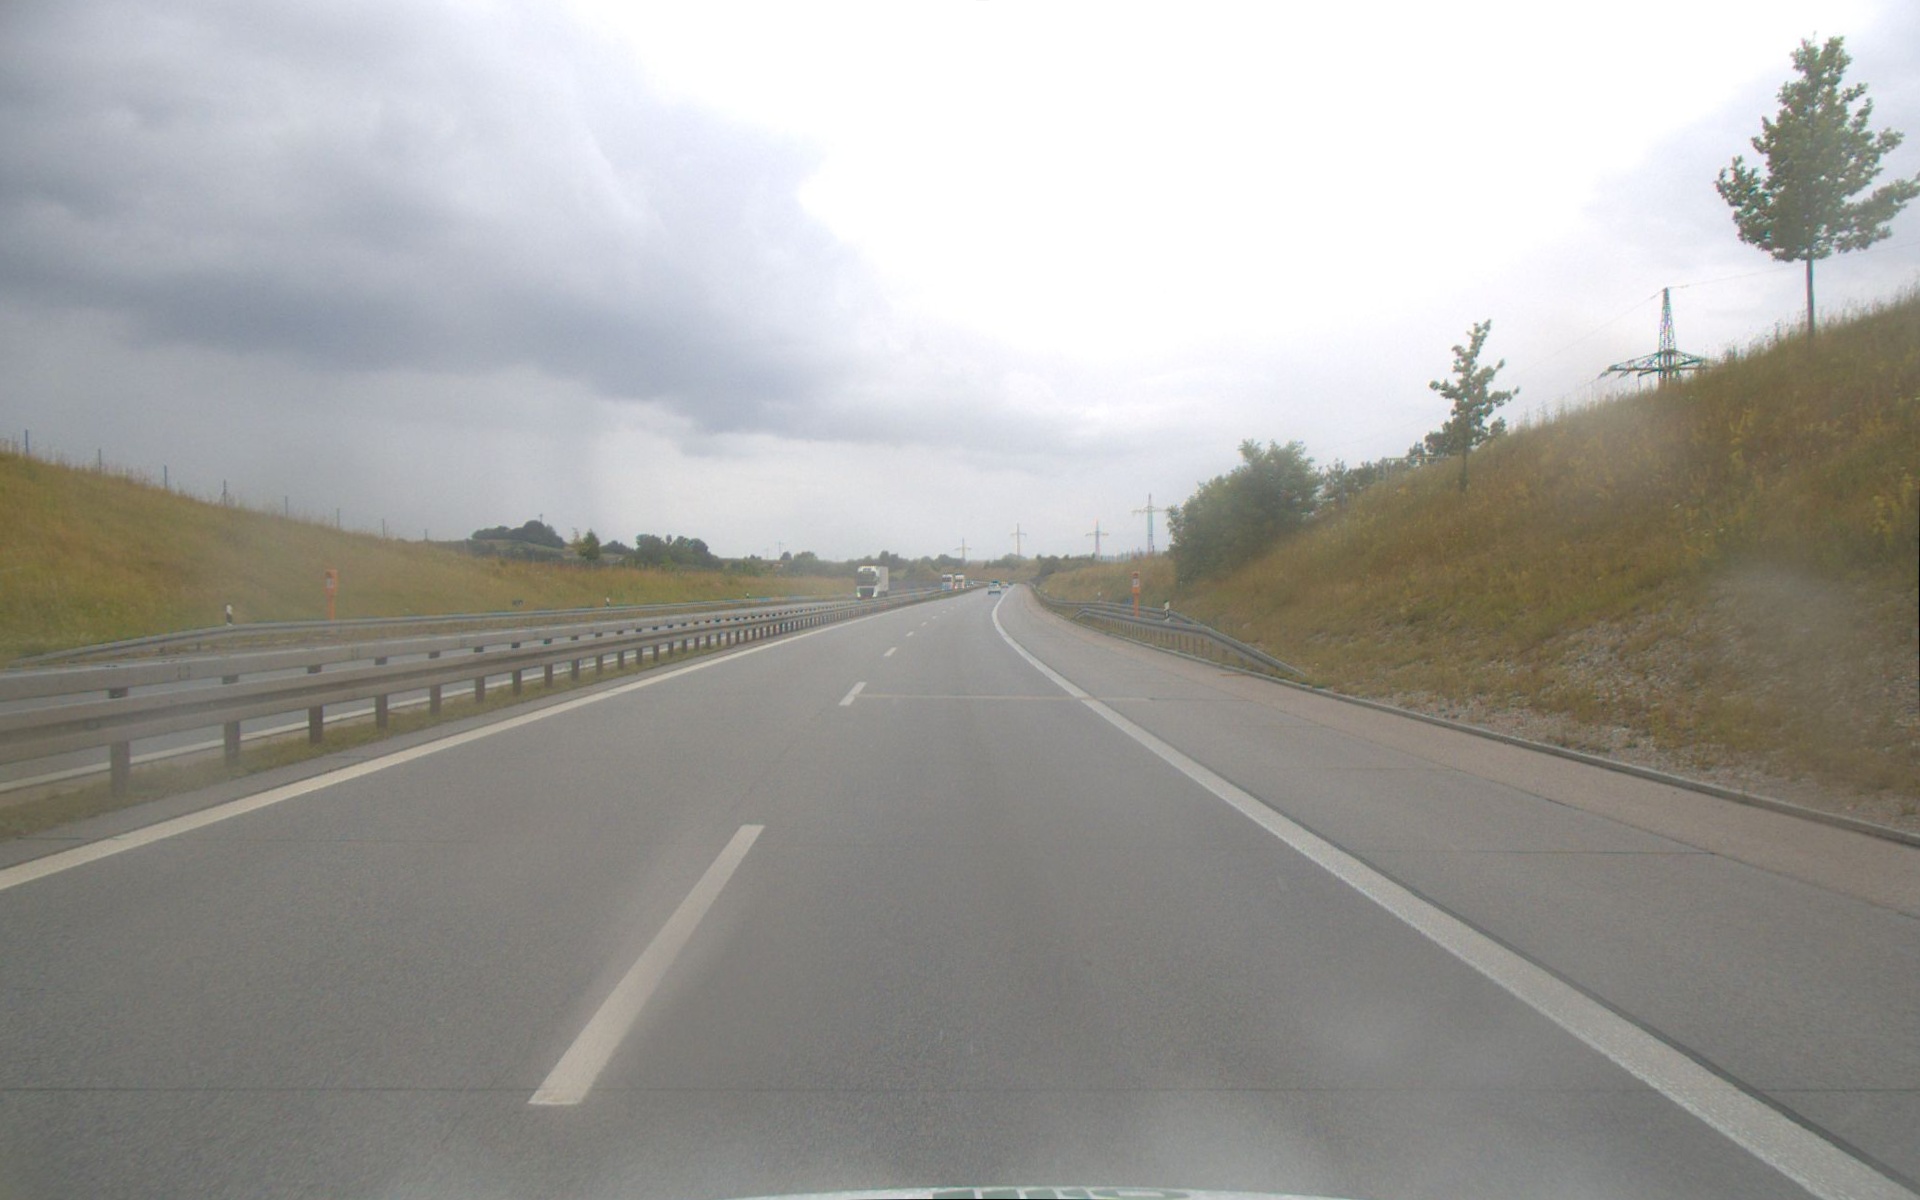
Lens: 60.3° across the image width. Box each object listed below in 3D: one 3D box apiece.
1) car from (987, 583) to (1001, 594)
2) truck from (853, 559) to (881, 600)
[{"bbox_3d":[5.207,-1.795,253.727,1.915,1.680,4.002,0,0,4],"label":"car"},{"bbox_3d":[-10.936,-2.450,195.368,2.737,4.728,6.921,-1,0,1],"label":"truck"}]
